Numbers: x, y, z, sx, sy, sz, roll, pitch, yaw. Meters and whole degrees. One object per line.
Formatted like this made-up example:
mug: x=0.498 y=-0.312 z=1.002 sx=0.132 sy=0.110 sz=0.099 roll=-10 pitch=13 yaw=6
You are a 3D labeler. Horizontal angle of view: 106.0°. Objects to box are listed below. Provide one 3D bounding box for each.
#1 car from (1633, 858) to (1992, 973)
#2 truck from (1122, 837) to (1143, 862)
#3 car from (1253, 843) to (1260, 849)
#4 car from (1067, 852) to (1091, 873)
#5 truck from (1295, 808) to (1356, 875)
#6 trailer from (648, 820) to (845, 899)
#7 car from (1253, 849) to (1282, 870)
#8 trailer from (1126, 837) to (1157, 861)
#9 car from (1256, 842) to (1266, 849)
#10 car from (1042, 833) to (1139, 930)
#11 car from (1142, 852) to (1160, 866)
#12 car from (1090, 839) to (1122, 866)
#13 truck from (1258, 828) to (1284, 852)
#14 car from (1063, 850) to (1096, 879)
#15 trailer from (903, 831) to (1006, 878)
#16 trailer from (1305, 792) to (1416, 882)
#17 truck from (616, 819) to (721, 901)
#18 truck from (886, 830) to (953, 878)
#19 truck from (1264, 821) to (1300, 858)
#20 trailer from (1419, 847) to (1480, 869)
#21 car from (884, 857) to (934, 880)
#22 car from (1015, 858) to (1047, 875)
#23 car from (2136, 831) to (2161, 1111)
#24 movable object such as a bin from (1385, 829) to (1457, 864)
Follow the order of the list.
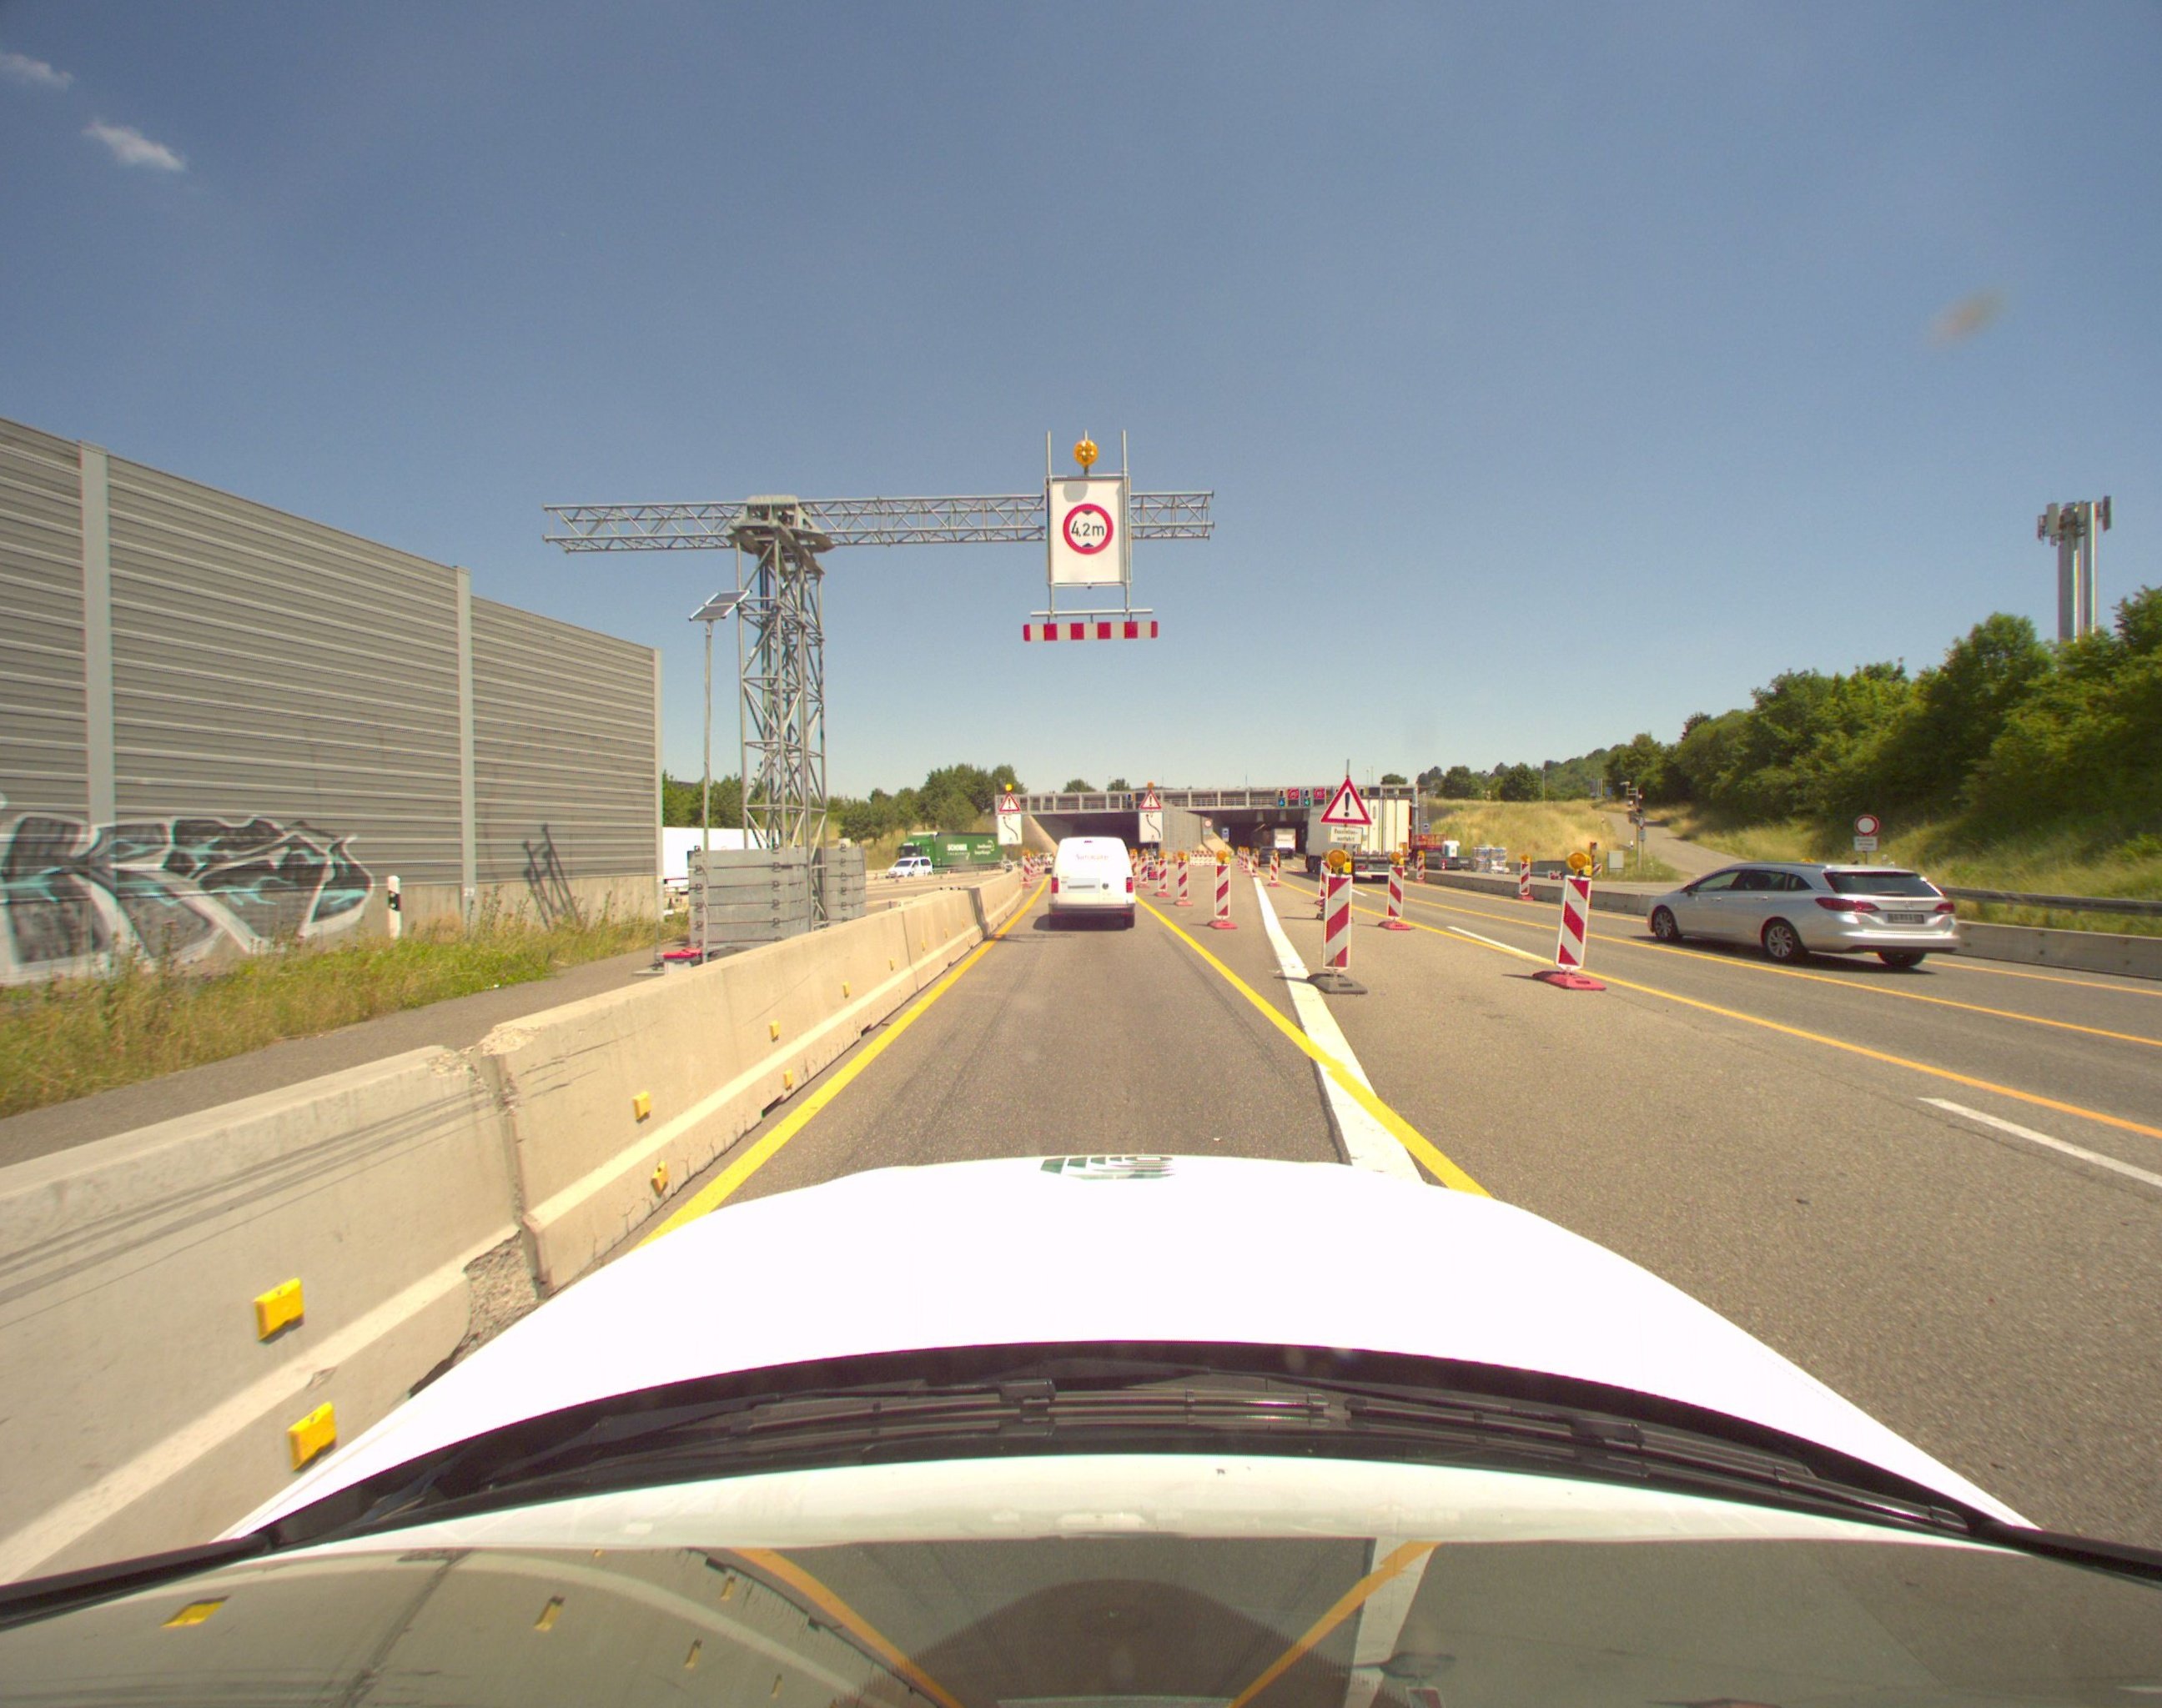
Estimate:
car: x=11.133 y=0.808 z=12.978 sx=1.807 sy=1.464 sz=4.658 roll=1 pitch=0 yaw=4
truck: x=9.054 y=-0.836 z=143.510 sx=2.412 sy=4.270 sz=4.861 roll=-1 pitch=0 yaw=18
car: x=50.262 y=-2.304 z=233.792 sx=1.804 sy=1.630 sz=4.201 roll=1 pitch=0 yaw=9
car: x=-0.150 y=0.760 z=74.214 sx=1.800 sy=1.815 sz=4.416 roll=-2 pitch=0 yaw=5
truck: x=15.539 y=-0.738 z=52.149 sx=2.731 sy=4.033 sz=5.937 roll=1 pitch=0 yaw=7
trailer: x=-21.331 y=0.303 z=53.927 sx=2.642 sy=4.500 sz=15.003 roll=0 pitch=0 yaw=20
car: x=15.051 y=0.414 z=65.742 sx=1.806 sy=1.630 sz=4.197 roll=1 pitch=0 yaw=6
trailer: x=11.297 y=-0.932 z=150.408 sx=2.416 sy=4.296 sz=13.874 roll=-1 pitch=0 yaw=18
car: x=47.150 y=-2.208 z=213.454 sx=2.318 sy=1.838 sz=4.555 roll=1 pitch=0 yaw=9
car: x=0.203 y=0.524 z=17.426 sx=1.802 sy=1.794 sz=3.731 roll=-2 pitch=0 yaw=0
car: x=9.727 y=0.655 z=113.206 sx=1.940 sy=1.815 sz=4.424 roll=-2 pitch=0 yaw=12
car: x=2.784 y=-0.108 z=88.597 sx=2.799 sy=2.773 sz=7.114 roll=0 pitch=-1 yaw=7
truck: x=34.116 y=-2.429 z=146.962 sx=3.381 sy=4.071 sz=16.579 roll=1 pitch=0 yaw=9
car: x=-0.134 y=0.575 z=46.887 sx=1.804 sy=1.537 sz=4.406 roll=-2 pitch=0 yaw=-2
trailer: x=-12.374 y=0.042 z=82.128 sx=3.515 sy=4.270 sz=13.982 roll=0 pitch=0 yaw=22
trailer: x=14.528 y=-0.770 z=43.773 sx=2.718 sy=4.062 sz=14.122 roll=1 pitch=0 yaw=7
truck: x=-23.758 y=0.304 z=47.107 sx=2.642 sy=4.500 sz=4.867 roll=0 pitch=0 yaw=20
truck: x=-14.949 y=0.024 z=75.768 sx=3.515 sy=4.270 sz=5.810 roll=0 pitch=0 yaw=22
truck: x=26.568 y=-1.770 z=108.452 sx=3.381 sy=4.335 sz=16.578 roll=1 pitch=-1 yaw=9
trailer: x=29.574 y=0.275 z=65.601 sx=2.582 sy=1.569 sz=6.245 roll=-2 pitch=0 yaw=5
car: x=-12.628 y=1.044 z=60.155 sx=1.702 sy=1.623 sz=4.190 roll=0 pitch=0 yaw=19
car: x=-4.982 y=1.231 z=81.467 sx=1.702 sy=1.623 sz=4.190 roll=-1 pitch=0 yaw=19
car: x=7.110 y=0.696 z=2.545 sx=1.807 sy=1.642 sz=4.657 roll=1 pitch=0 yaw=4
movable object such as a bin: x=32.997 y=-0.641 z=79.920 sx=3.093 sy=3.011 sz=14.739 roll=-2 pitch=0 yaw=9
